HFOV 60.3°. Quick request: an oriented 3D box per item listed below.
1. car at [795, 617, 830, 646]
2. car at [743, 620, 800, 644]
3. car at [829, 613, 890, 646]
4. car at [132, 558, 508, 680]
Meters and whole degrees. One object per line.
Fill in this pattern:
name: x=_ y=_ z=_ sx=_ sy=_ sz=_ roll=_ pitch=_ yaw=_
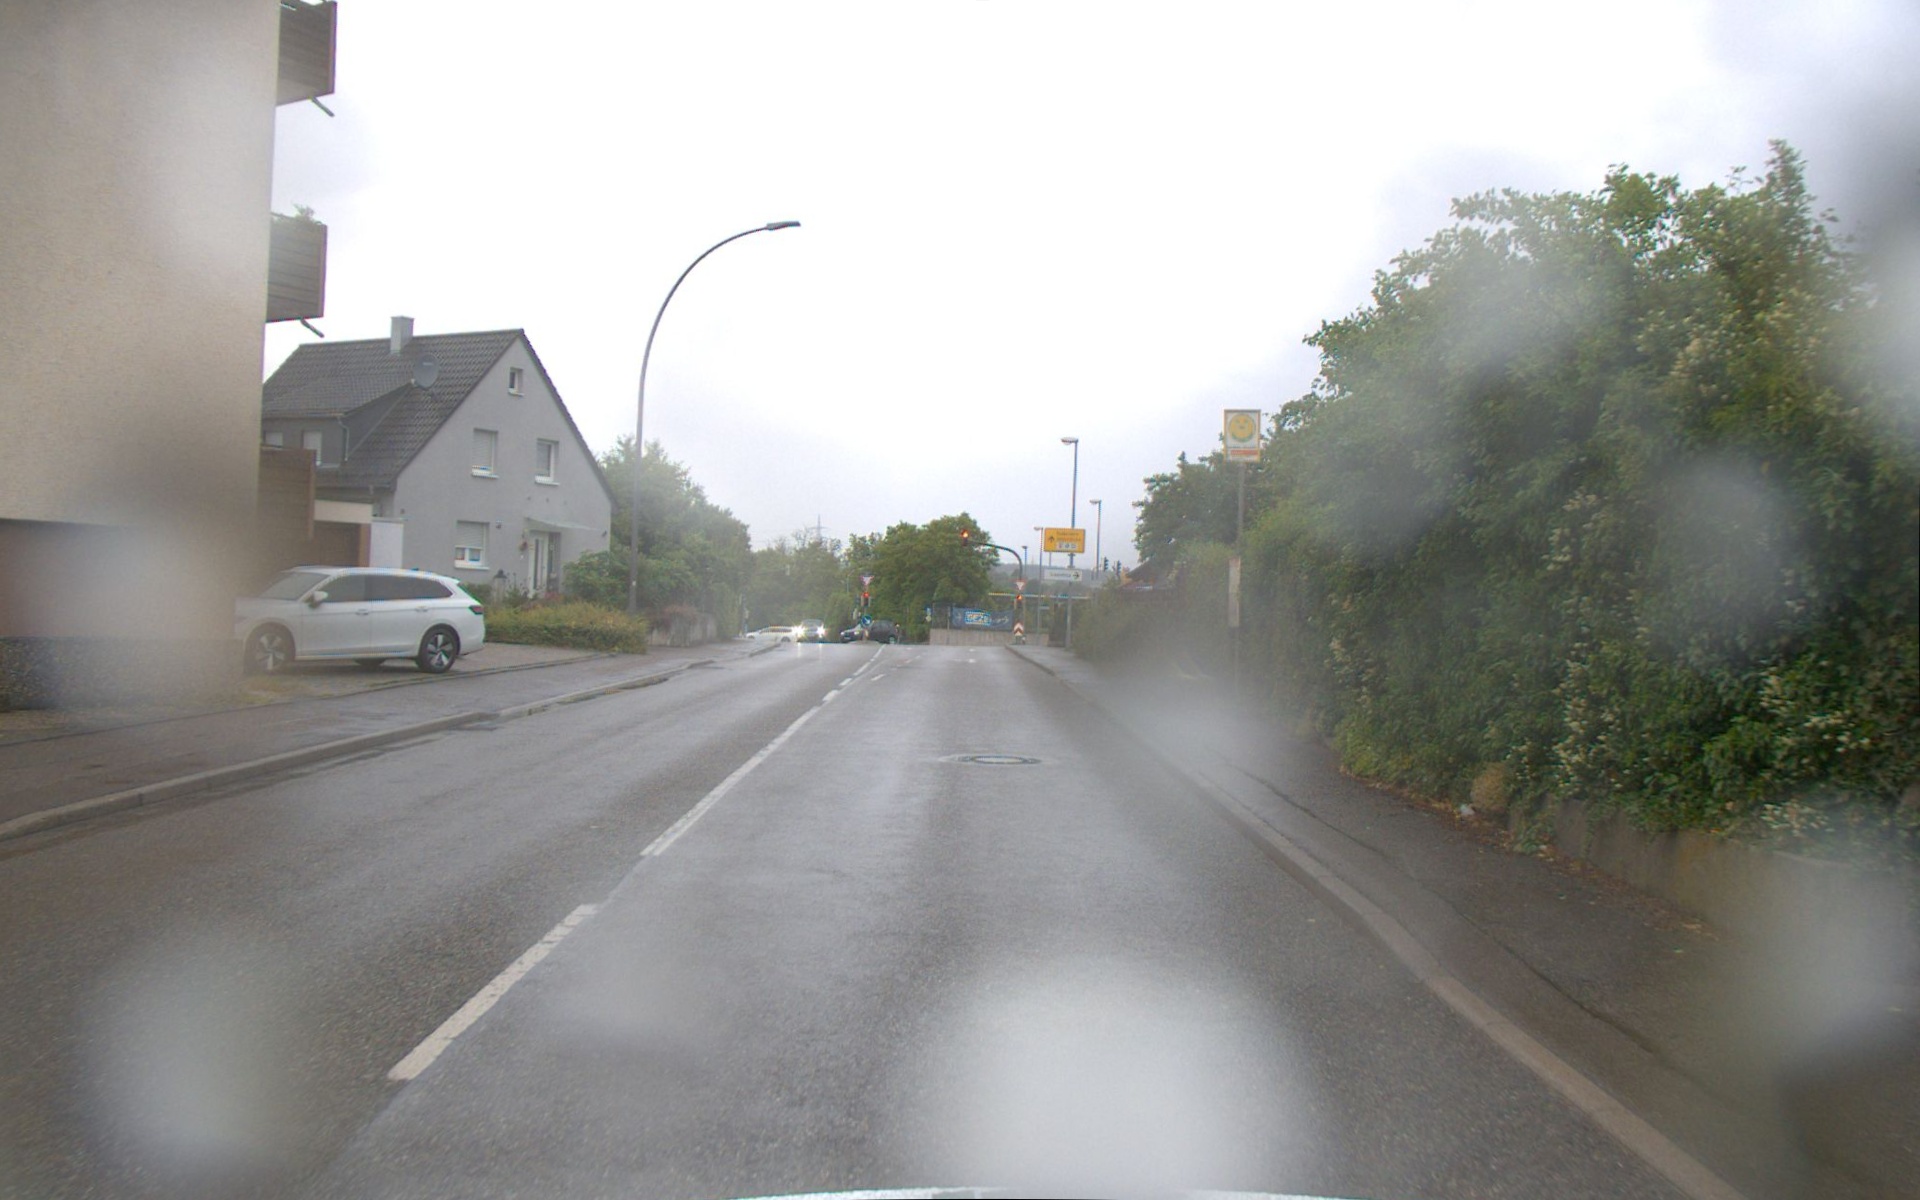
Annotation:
car: x=-8.676 y=1.856 z=97.816 sx=1.768 sy=1.550 sz=3.999 roll=2 pitch=0 yaw=-2
car: x=-14.495 y=2.472 z=127.184 sx=3.902 sy=1.646 sz=1.946 roll=1 pitch=2 yaw=13
car: x=-6.694 y=1.967 z=110.229 sx=1.744 sy=2.049 sz=3.979 roll=2 pitch=0 yaw=40
car: x=-9.062 y=0.267 z=23.854 sx=1.867 sy=1.502 sz=4.868 roll=3 pitch=1 yaw=33
